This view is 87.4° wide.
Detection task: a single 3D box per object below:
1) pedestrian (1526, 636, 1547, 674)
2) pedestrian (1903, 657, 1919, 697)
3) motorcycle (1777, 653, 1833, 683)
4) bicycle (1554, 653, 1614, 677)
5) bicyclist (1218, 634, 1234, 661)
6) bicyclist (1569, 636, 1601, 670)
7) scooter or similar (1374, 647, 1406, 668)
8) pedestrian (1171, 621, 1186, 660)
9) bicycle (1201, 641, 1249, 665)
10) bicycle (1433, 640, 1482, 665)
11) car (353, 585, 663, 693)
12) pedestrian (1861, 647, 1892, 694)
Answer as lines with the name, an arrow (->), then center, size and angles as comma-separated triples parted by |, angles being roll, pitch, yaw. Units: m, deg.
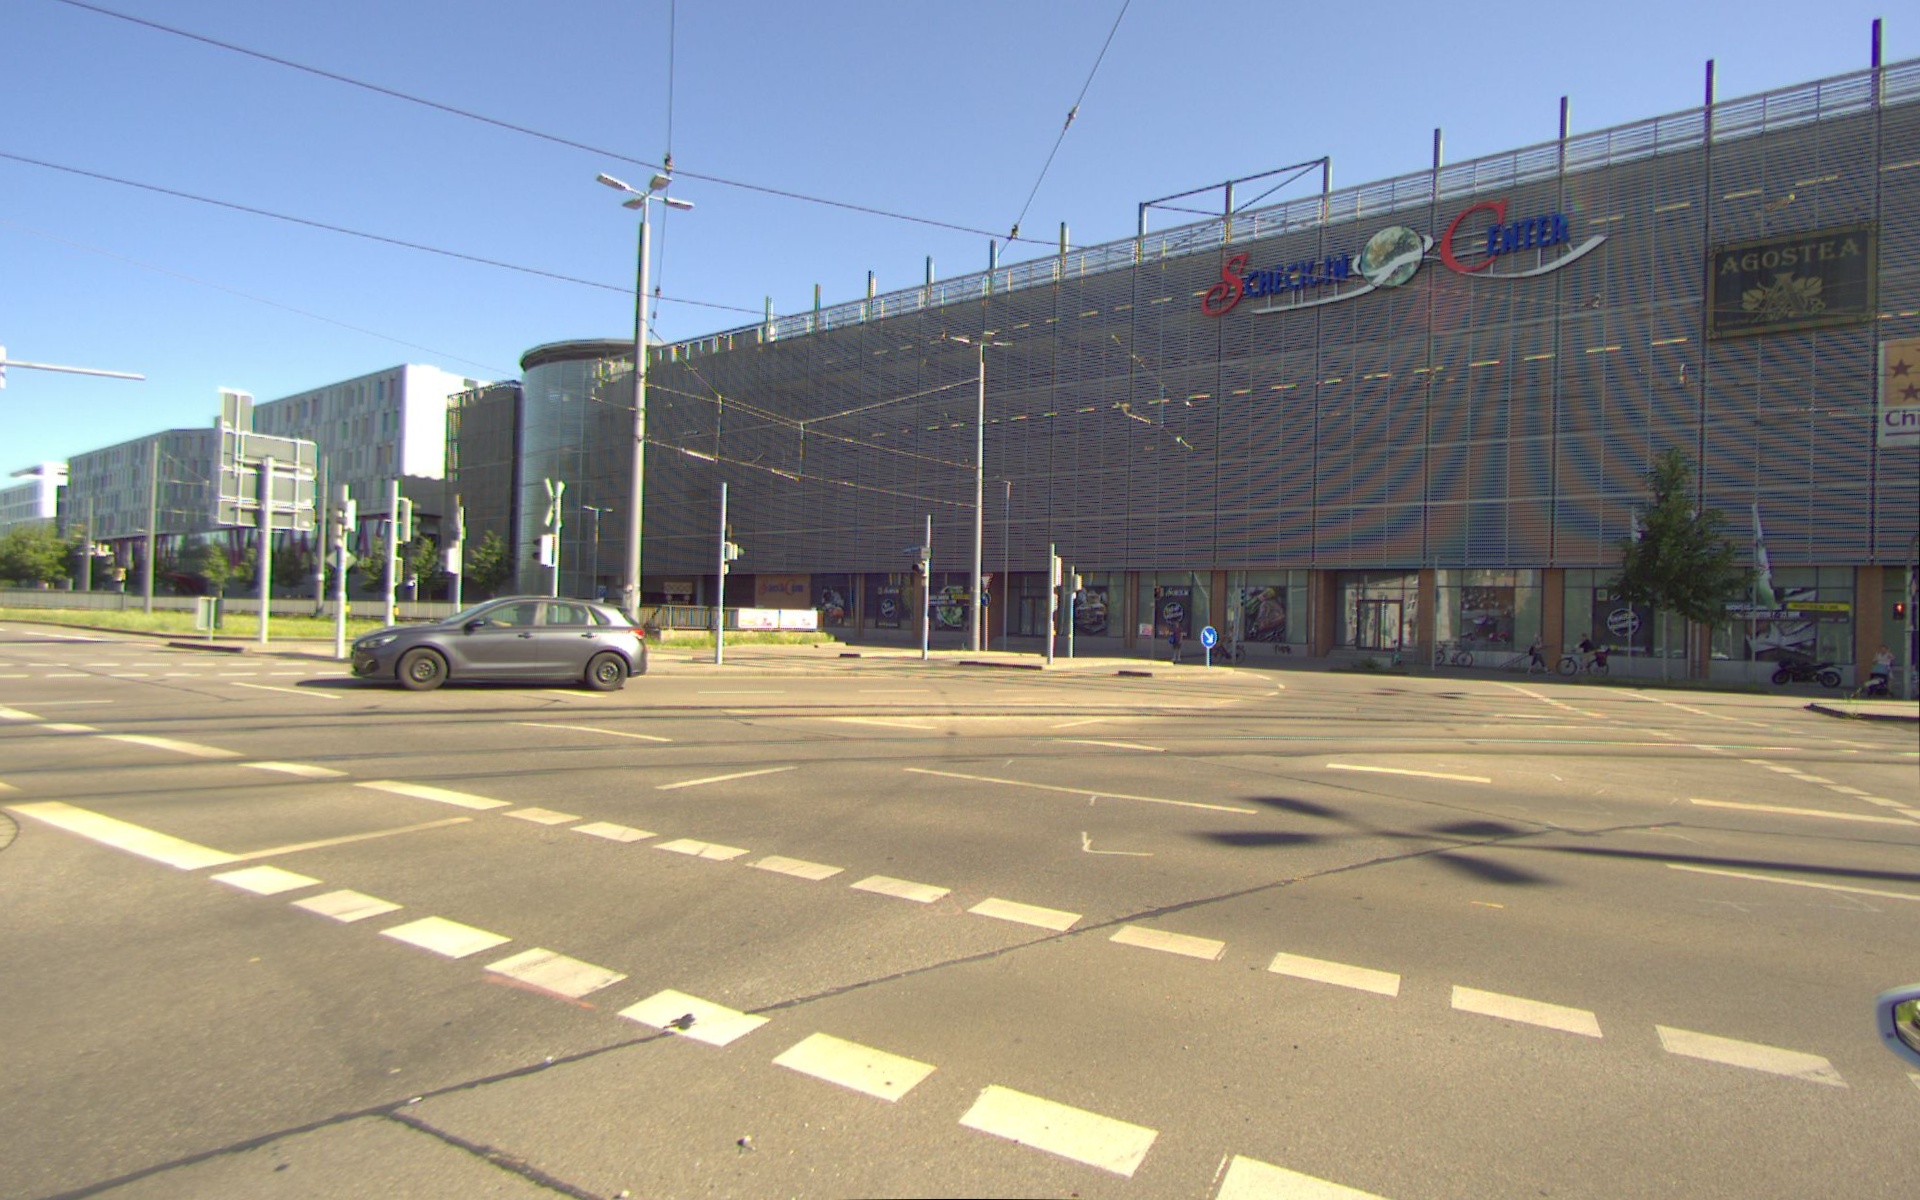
pedestrian -> 24.308, 2.313, 42.355 | 0.639, 1.539, 0.489 | 1, -1, 39
pedestrian -> 30.411, 2.461, 31.976 | 0.393, 1.245, 0.445 | 2, -1, -30
motorcycle -> 32.119, 2.565, 38.208 | 1.593, 1.052, 0.400 | 1, -1, 36
bicycle -> 25.019, 2.600, 40.301 | 2.014, 0.879, 0.680 | 1, -1, 34
bicyclist -> 12.015, 2.144, 45.342 | 0.552, 1.154, 0.560 | 2, -1, 2
bicyclist -> 25.060, 2.112, 40.268 | 1.022, 1.335, 0.680 | 1, -1, 34
scooter or similar -> 18.290, 2.449, 42.771 | 1.205, 0.862, 0.300 | 1, -1, 32
pedestrian -> 10.186, 1.900, 46.868 | 0.613, 1.774, 0.589 | 2, -1, 16
bicycle -> 11.958, 2.368, 45.346 | 1.981, 0.998, 0.560 | 2, -1, 2
bicycle -> 22.318, 2.347, 45.108 | 1.917, 1.052, 0.572 | 1, -1, 31
car -> -7.162, 0.633, 16.041 | 4.261, 1.519, 1.983 | 3, -1, -31
pedestrian -> 30.226, 2.307, 33.119 | 0.731, 1.506, 0.487 | 1, -1, 45
